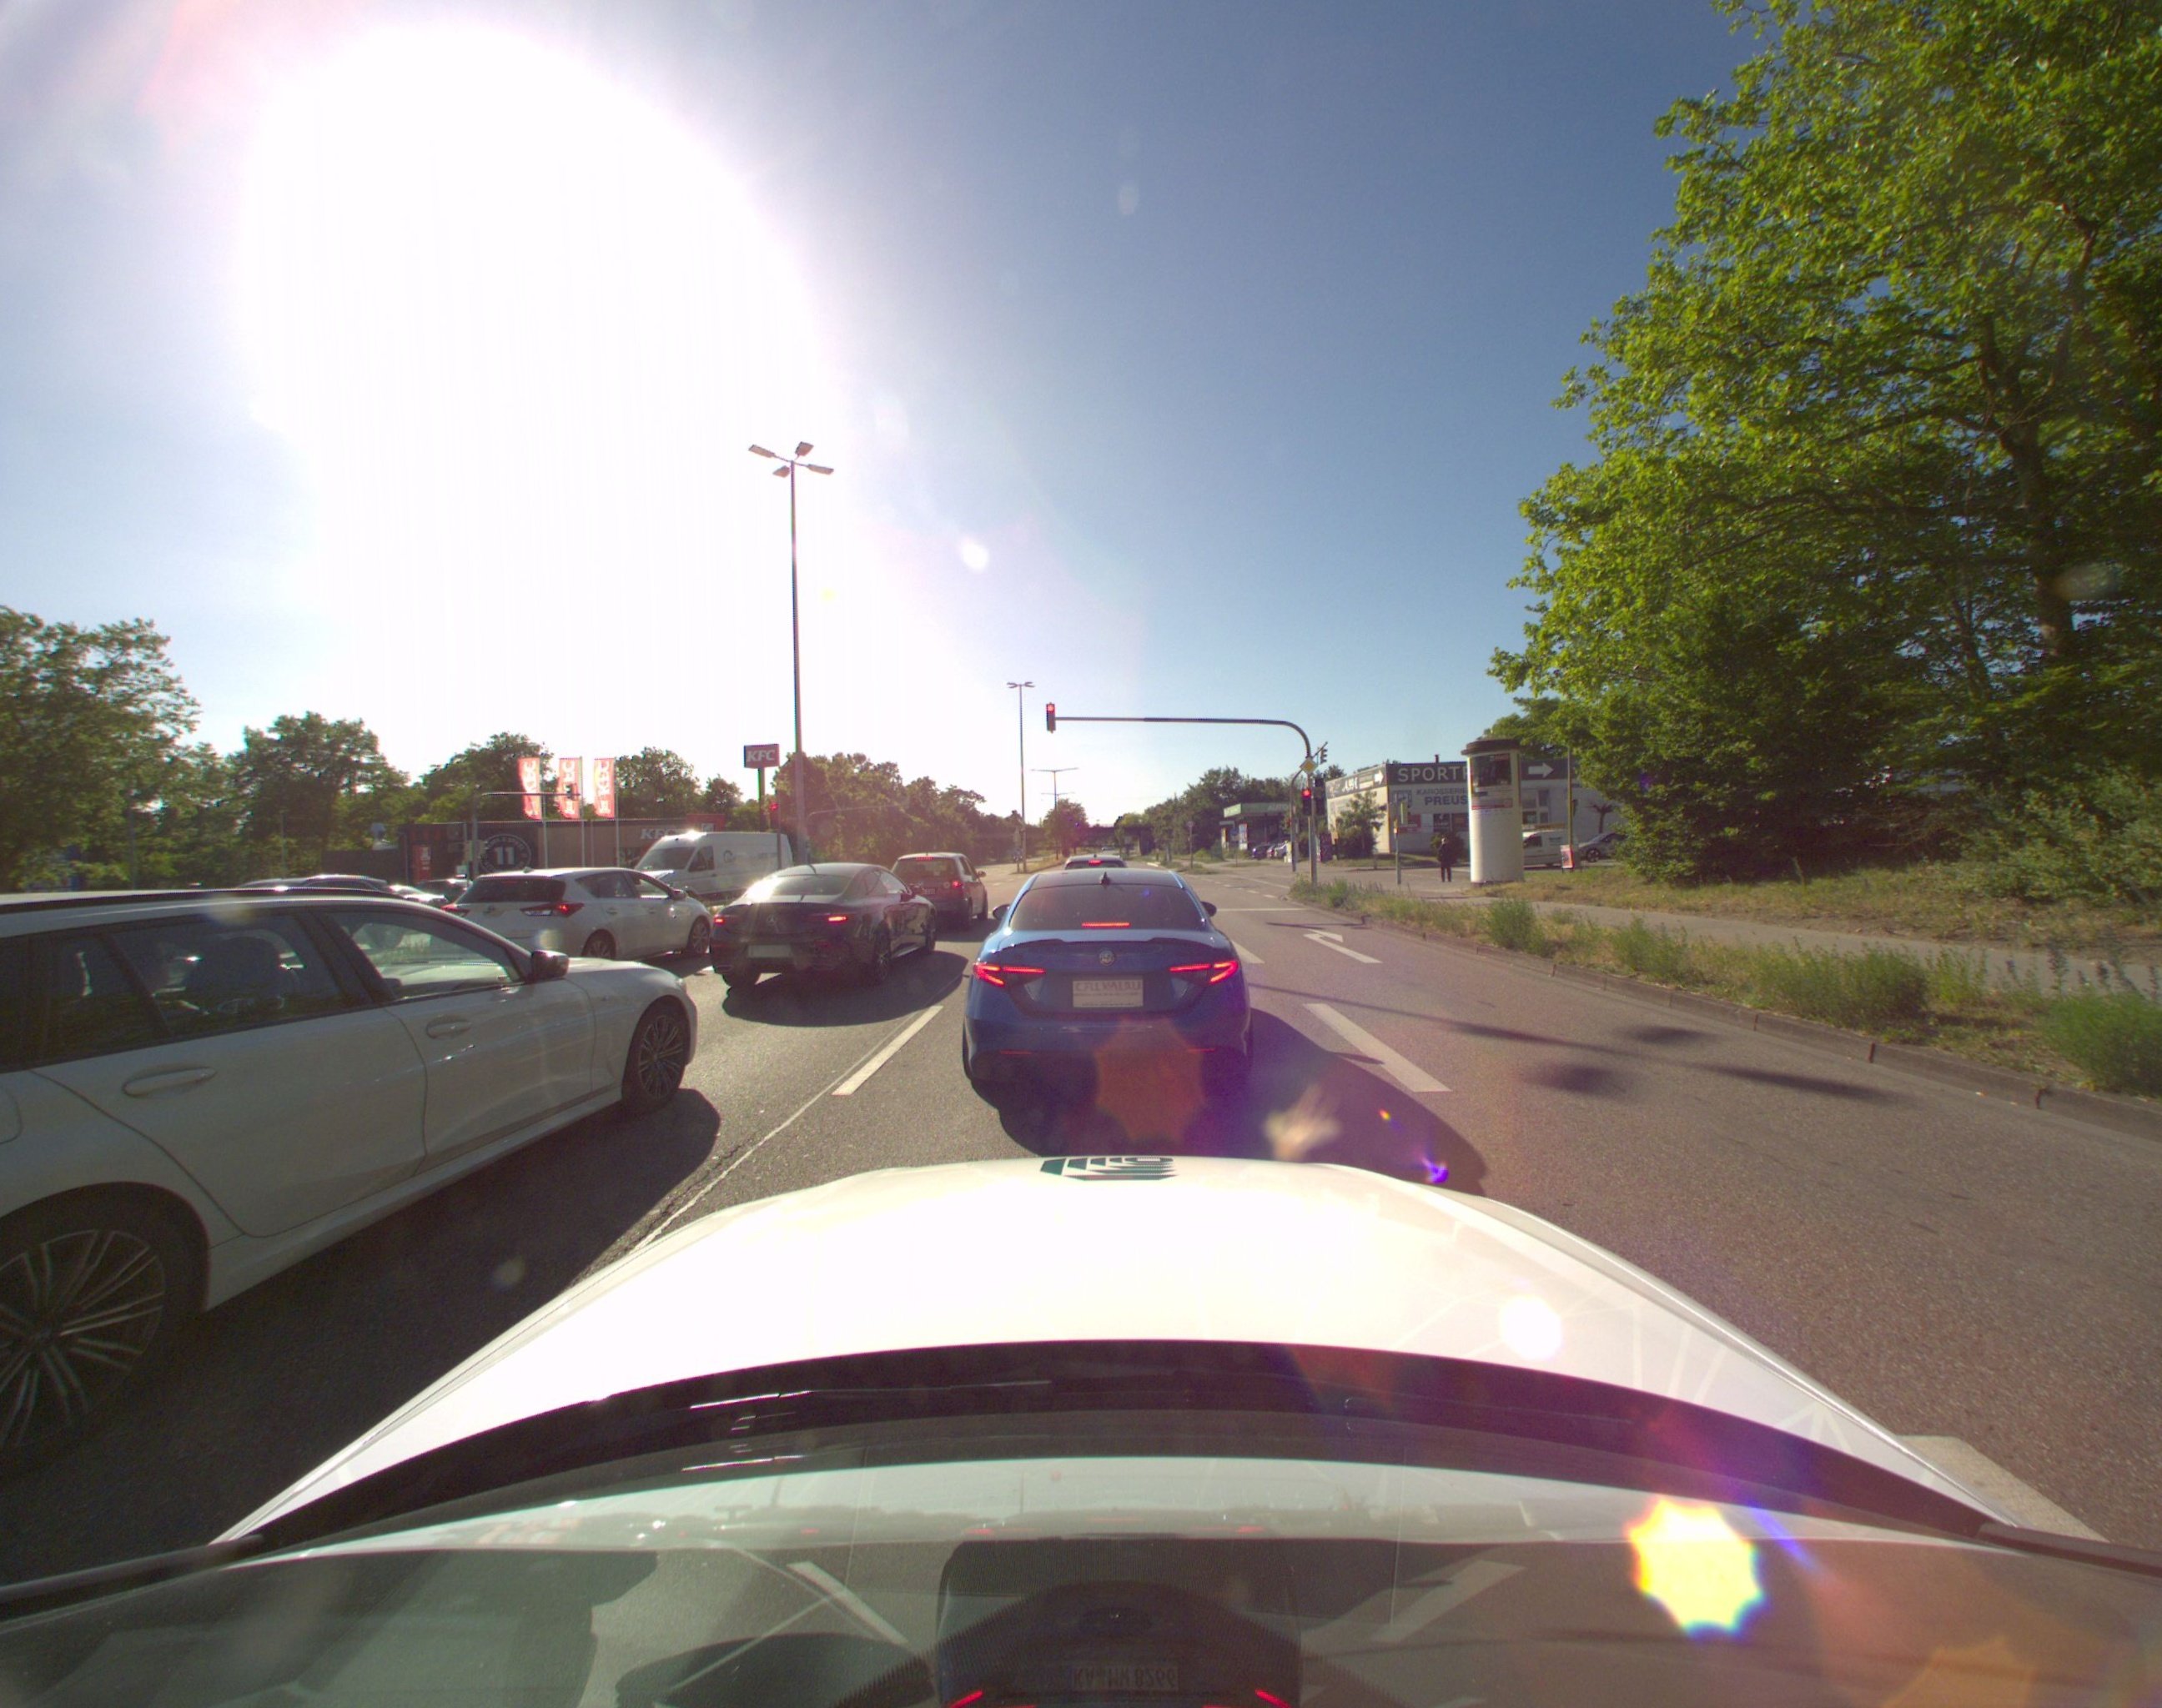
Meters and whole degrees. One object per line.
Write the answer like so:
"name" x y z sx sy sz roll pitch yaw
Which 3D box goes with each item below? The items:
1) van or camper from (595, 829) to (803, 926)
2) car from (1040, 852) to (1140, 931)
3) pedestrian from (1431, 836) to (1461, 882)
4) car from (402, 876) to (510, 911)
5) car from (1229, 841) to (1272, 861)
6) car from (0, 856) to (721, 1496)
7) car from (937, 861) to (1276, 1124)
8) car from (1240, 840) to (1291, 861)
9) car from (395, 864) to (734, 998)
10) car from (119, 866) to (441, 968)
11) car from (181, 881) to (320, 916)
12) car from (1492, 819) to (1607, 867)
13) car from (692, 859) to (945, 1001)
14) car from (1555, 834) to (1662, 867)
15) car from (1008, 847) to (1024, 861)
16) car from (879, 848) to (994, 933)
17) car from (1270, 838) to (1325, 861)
"van or camper" -11.805 0.628 25.994 2.163 2.572 6.777 -4 0 12
"car" 0.229 0.701 17.186 1.859 1.450 3.933 -1 0 2
"pedestrian" 14.183 0.185 31.662 0.818 1.721 0.856 -2 0 9
"car" -31.926 1.989 41.679 4.025 1.595 1.824 -2 0 -1
"car" 15.377 -0.247 73.959 3.489 1.706 1.687 -1 0 -14
"car" -3.431 0.795 3.350 1.762 1.509 4.463 -1 0 2
"car" 0.200 0.786 6.488 1.859 1.385 3.933 -1 0 2
"car" 16.035 -0.283 70.750 3.997 1.706 1.685 -1 0 -18
"car" -6.849 0.907 11.520 1.850 1.429 4.405 -1 0 2
"car" -15.980 1.149 16.706 1.987 1.653 4.613 -1 0 0
"car" -39.252 2.084 38.565 4.701 1.429 1.865 -1 1 2
"car" 22.627 -0.518 39.456 4.393 2.145 1.999 -1 0 -2
"car" -3.145 0.811 10.822 1.762 1.414 4.463 -1 0 2
"car" 27.658 -0.178 42.794 4.393 1.553 1.999 -1 0 -2
"car" -12.150 0.023 153.442 2.423 2.427 5.831 -2 0 0
"car" -3.006 0.698 17.738 1.642 1.598 3.933 -1 0 2
"car" 17.505 -0.353 65.856 3.993 1.706 1.687 -1 0 -15
